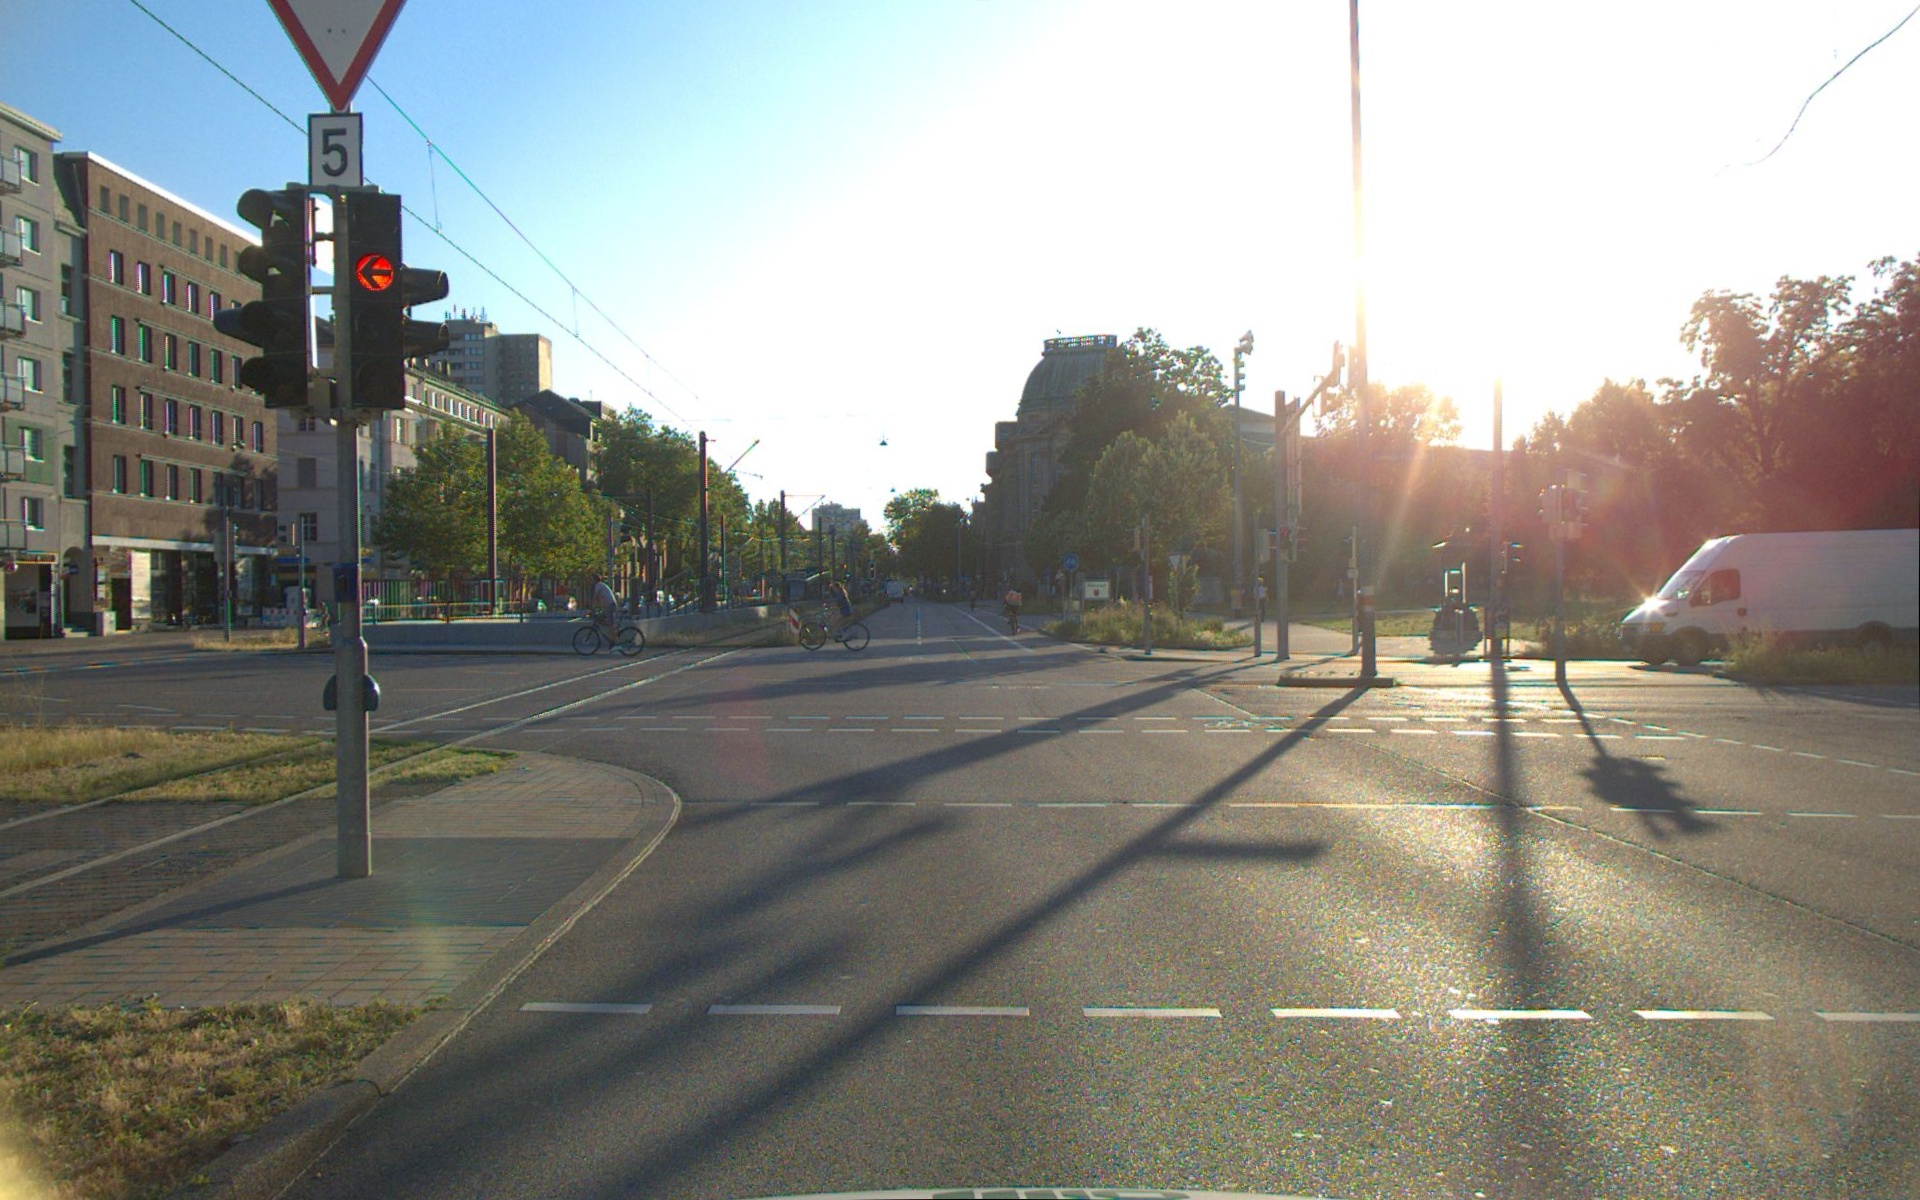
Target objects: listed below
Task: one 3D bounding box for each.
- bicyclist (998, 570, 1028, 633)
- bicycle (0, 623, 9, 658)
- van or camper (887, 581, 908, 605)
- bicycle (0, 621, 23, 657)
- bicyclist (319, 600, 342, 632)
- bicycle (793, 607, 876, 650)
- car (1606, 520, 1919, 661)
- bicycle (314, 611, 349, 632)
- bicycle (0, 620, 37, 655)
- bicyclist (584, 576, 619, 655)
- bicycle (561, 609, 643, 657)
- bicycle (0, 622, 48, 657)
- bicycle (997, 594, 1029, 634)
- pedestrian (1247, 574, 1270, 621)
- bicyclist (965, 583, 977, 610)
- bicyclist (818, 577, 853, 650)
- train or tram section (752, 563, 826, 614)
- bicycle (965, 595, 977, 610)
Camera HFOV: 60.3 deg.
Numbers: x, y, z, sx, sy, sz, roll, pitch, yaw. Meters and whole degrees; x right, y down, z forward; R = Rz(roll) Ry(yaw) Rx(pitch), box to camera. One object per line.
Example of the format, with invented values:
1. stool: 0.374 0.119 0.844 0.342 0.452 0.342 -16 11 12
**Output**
1. bicyclist: 1.972 0.056 61.949 1.060 2.316 0.986 0 0 -1
2. bicycle: -32.925 1.367 55.483 1.655 1.173 0.705 -1 0 1
3. van or camper: -7.473 -0.828 198.179 2.400 2.819 5.598 -1 0 -3
4. bicycle: -32.910 1.337 56.237 1.655 1.199 0.748 -1 0 1
5. bicyclist: -29.157 0.720 76.596 0.489 1.451 0.857 -1 0 24
6. bicycle: -3.238 0.738 42.704 2.120 1.102 0.538 0 -1 -3
7. car: 17.830 -0.211 35.783 6.866 2.877 2.093 -1 0 1
8. bicycle: -29.124 0.985 76.686 0.497 0.961 1.667 -1 0 24
9. bicycle: -32.868 1.290 57.013 1.655 1.190 0.748 -1 0 1
10. bicyclist: -8.508 0.372 39.267 0.779 1.850 0.644 -1 0 -13
11. bicycle: -8.498 0.775 39.283 1.869 1.094 0.630 -1 0 -14
12. bicycle: -32.852 1.374 57.745 1.655 1.164 0.697 -1 0 1
13. bicycle: 1.974 0.507 61.995 1.075 1.423 2.831 -1 0 -1
14. pedestrian: 11.994 -0.105 66.440 0.815 1.835 0.811 -1 0 14
15. bicyclist: 0.835 -0.250 126.801 0.907 2.049 0.850 0 0 -1
16. bicyclist: -3.218 0.346 42.702 0.858 1.850 0.537 0 0 -3
17. train or tram section: -14.453 -1.025 140.881 4.294 3.916 11.418 -1 2 4
18. bicycle: 0.843 0.221 126.817 0.905 1.131 2.332 -1 0 -1
